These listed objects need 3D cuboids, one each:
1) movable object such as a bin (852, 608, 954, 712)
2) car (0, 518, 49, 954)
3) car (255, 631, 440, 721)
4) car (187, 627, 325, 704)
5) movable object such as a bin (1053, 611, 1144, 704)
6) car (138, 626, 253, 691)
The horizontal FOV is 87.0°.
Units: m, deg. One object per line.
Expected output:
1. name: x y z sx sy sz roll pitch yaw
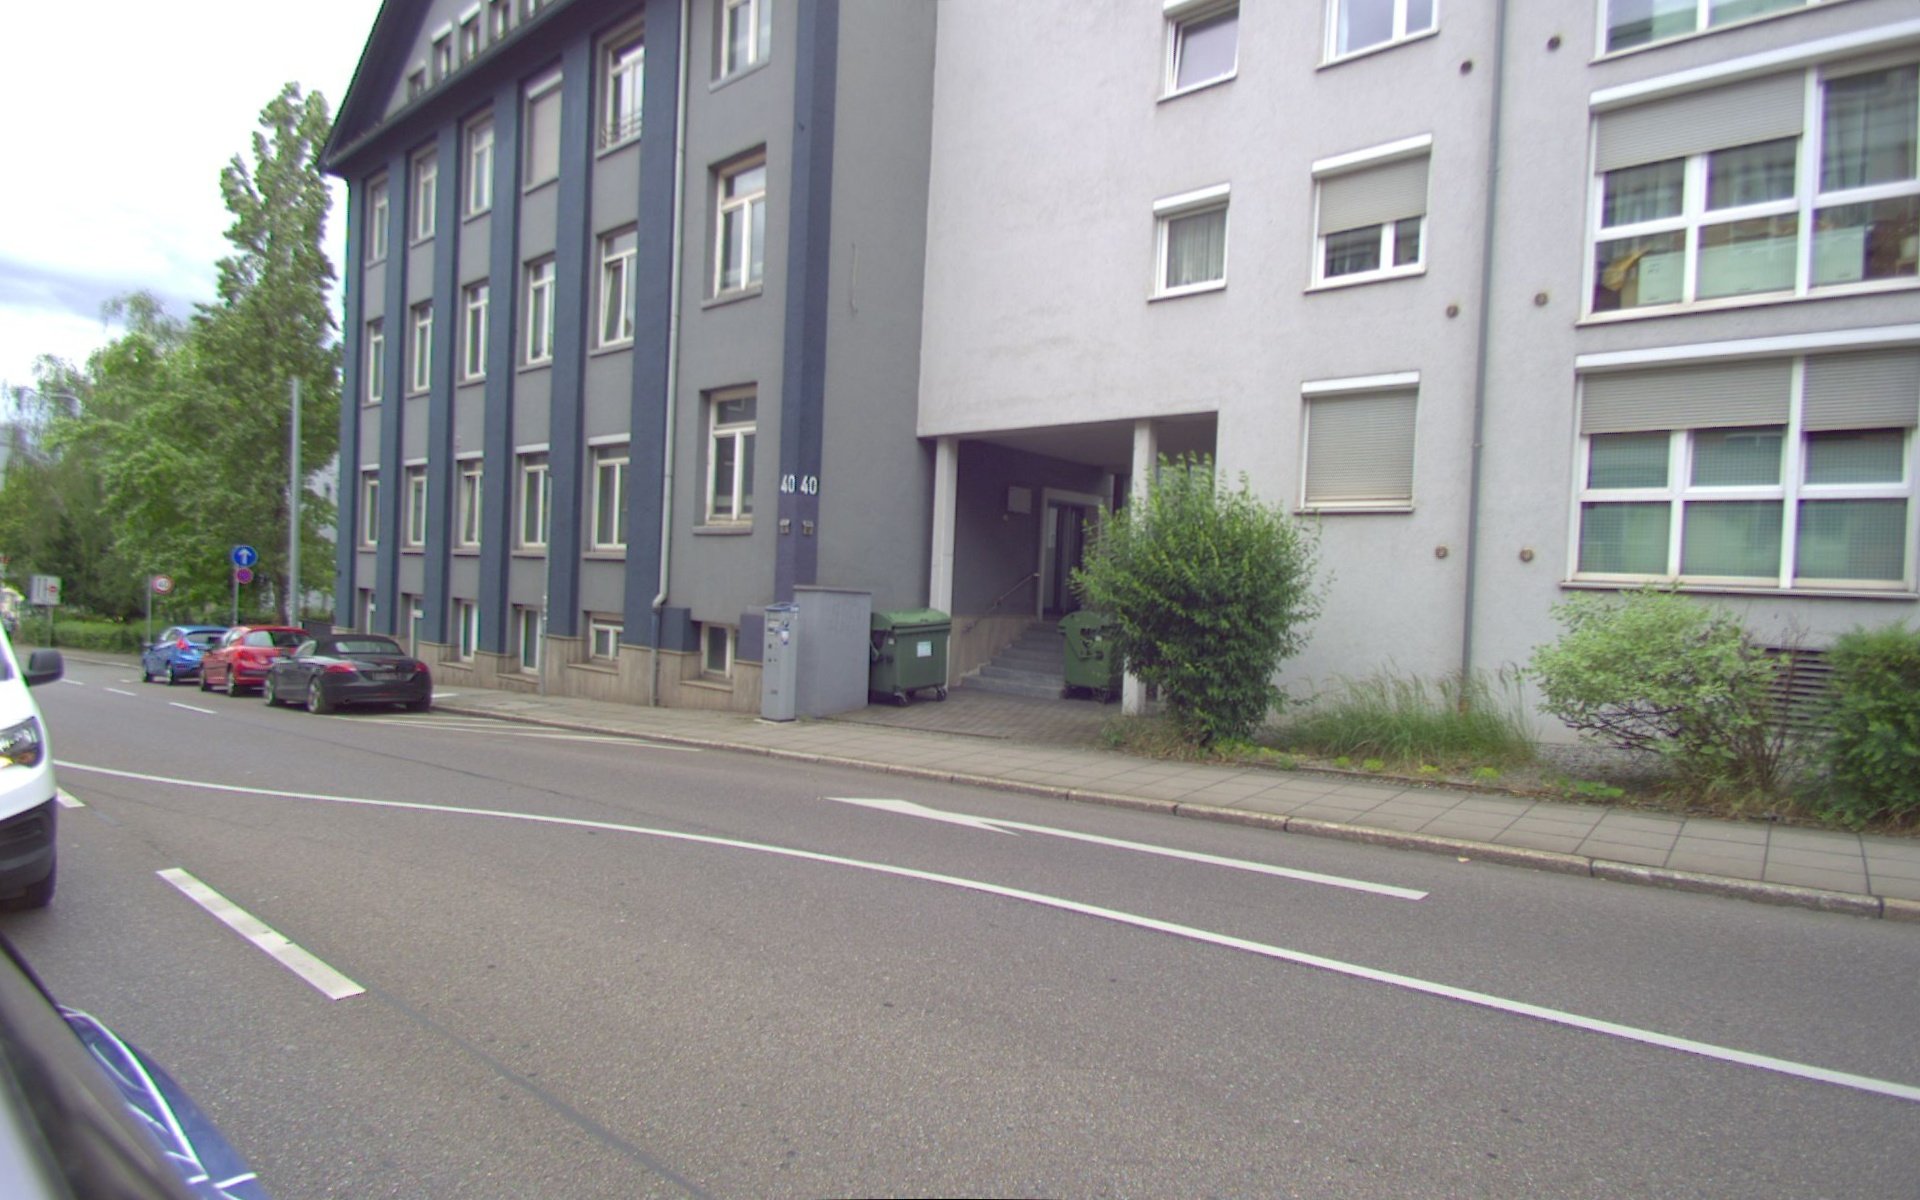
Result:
1. movable object such as a bin: -0.880 0.891 15.737 1.039 1.518 1.213 -1 0 41
2. car: -6.141 0.615 5.196 3.998 1.901 1.716 -1 0 41
3. car: -11.025 1.269 18.137 3.727 1.403 1.778 -1 -2 41
4. car: -15.359 1.345 22.024 3.727 1.460 1.623 -1 0 41
5. movable object such as a bin: 2.267 0.911 16.541 1.078 1.427 1.026 -1 0 41
6. car: -19.461 1.416 25.719 3.727 1.460 1.623 -1 0 41
